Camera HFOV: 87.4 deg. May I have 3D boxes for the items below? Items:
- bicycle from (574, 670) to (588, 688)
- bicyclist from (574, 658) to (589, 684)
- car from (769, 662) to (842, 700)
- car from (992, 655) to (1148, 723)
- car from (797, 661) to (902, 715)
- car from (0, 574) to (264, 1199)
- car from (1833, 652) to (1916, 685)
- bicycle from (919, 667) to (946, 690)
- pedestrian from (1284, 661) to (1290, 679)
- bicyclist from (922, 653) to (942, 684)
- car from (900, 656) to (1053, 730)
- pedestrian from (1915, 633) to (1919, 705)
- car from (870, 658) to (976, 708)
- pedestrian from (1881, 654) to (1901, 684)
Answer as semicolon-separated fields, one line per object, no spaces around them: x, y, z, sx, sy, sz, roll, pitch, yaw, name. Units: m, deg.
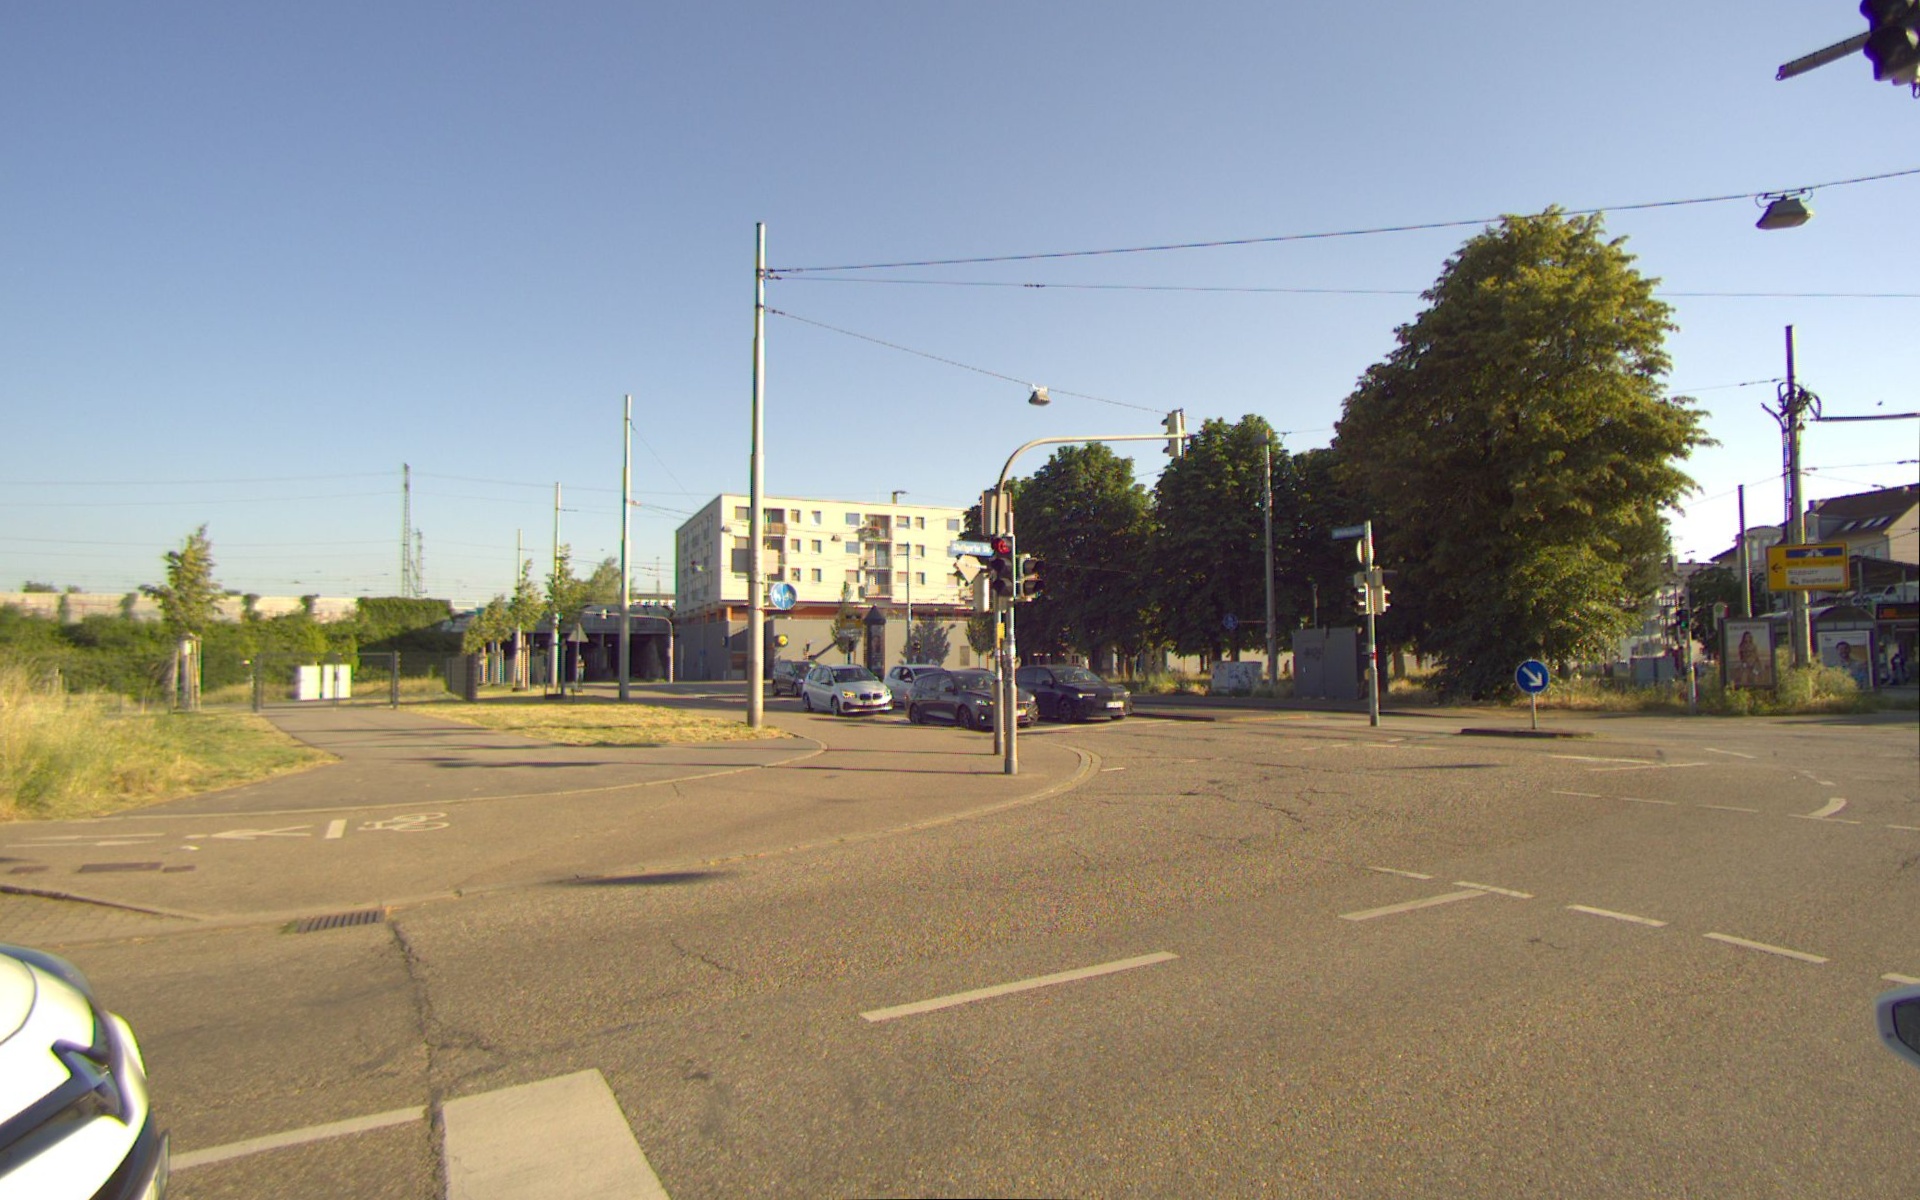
-23.789;4.958;63.102;0.743;1.107;1.941;2;-5;-20;bicycle
-23.792;4.468;63.128;0.865;1.646;0.968;1;-3;-20;bicyclist
-7.018;3.601;45.292;1.975;1.587;4.426;1;-4;-27;car
2.774;2.278;26.409;2.027;1.587;4.423;1;-4;-26;car
-3.634;2.782;32.362;1.975;1.587;4.246;1;-4;-27;car
-3.058;0.716;1.009;3.733;1.488;1.692;2;-4;-32;car
59.356;4.427;65.345;2.017;1.987;5.153;-4;-4;19;car
-1.452;4.144;53.257;0.690;1.157;2.190;1;-4;-22;bicycle
27.635;5.905;84.862;0.398;1.527;0.372;-2;-4;33;pedestrian
-1.482;3.614;53.258;0.703;1.650;1.036;1;-3;-23;bicyclist
0.290;2.223;24.747;1.975;1.587;4.246;-1;-3;-28;car
24.557;1.709;24.944;1.055;1.769;0.907;2;-4;-31;pedestrian
-1.357;2.825;34.612;1.975;1.587;4.426;1;-4;-27;car
47.925;3.540;51.704;0.558;1.520;0.677;-2;-4;32;pedestrian
